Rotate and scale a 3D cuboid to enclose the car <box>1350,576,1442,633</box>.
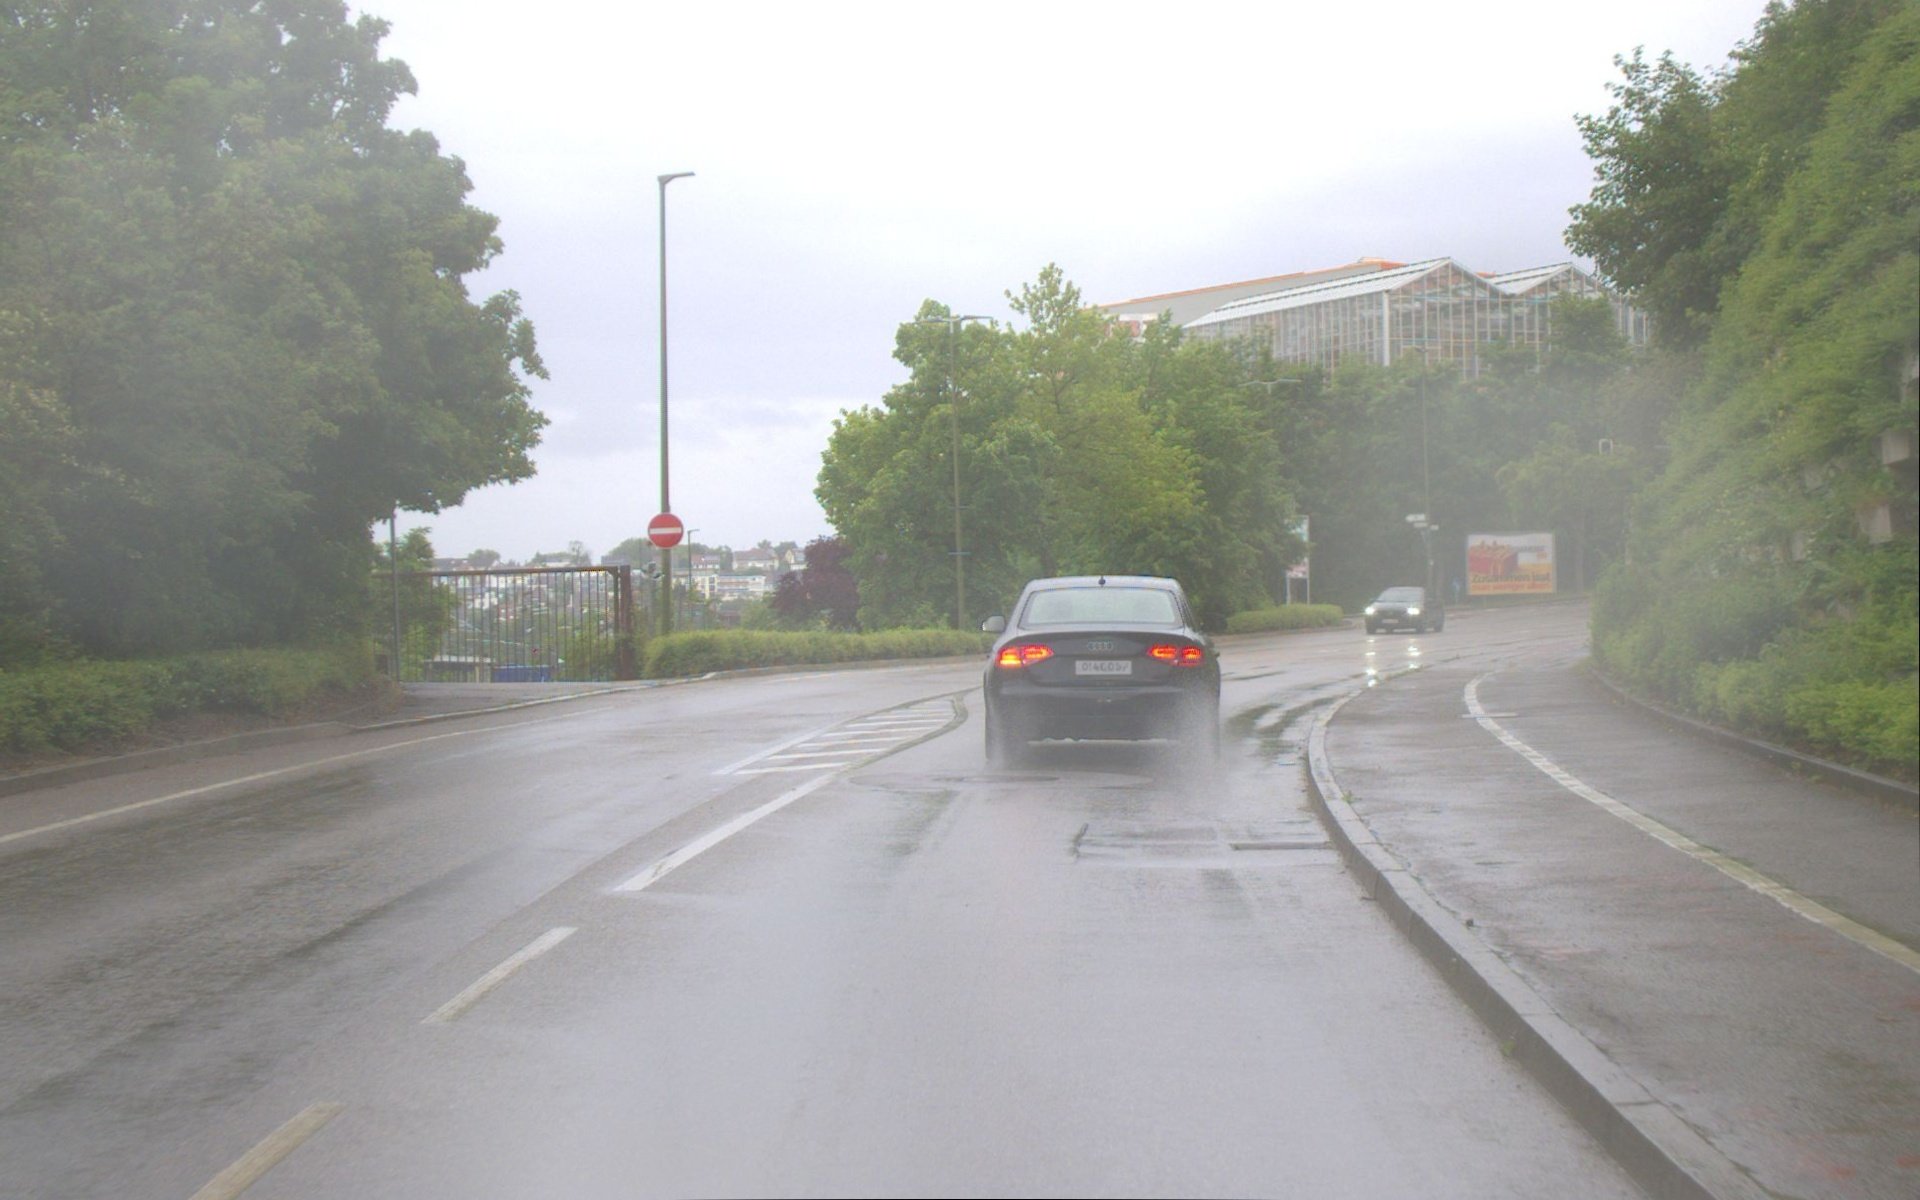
[{"bbox_3d":[13.870,0.135,109.128,1.995,1.735,3.996,-1,1,21],"label":"car"}]

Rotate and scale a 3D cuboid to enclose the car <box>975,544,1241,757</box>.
[{"bbox_3d":[1.120,0.330,26.803,1.893,1.487,4.207,1,1,2],"label":"car"}]
